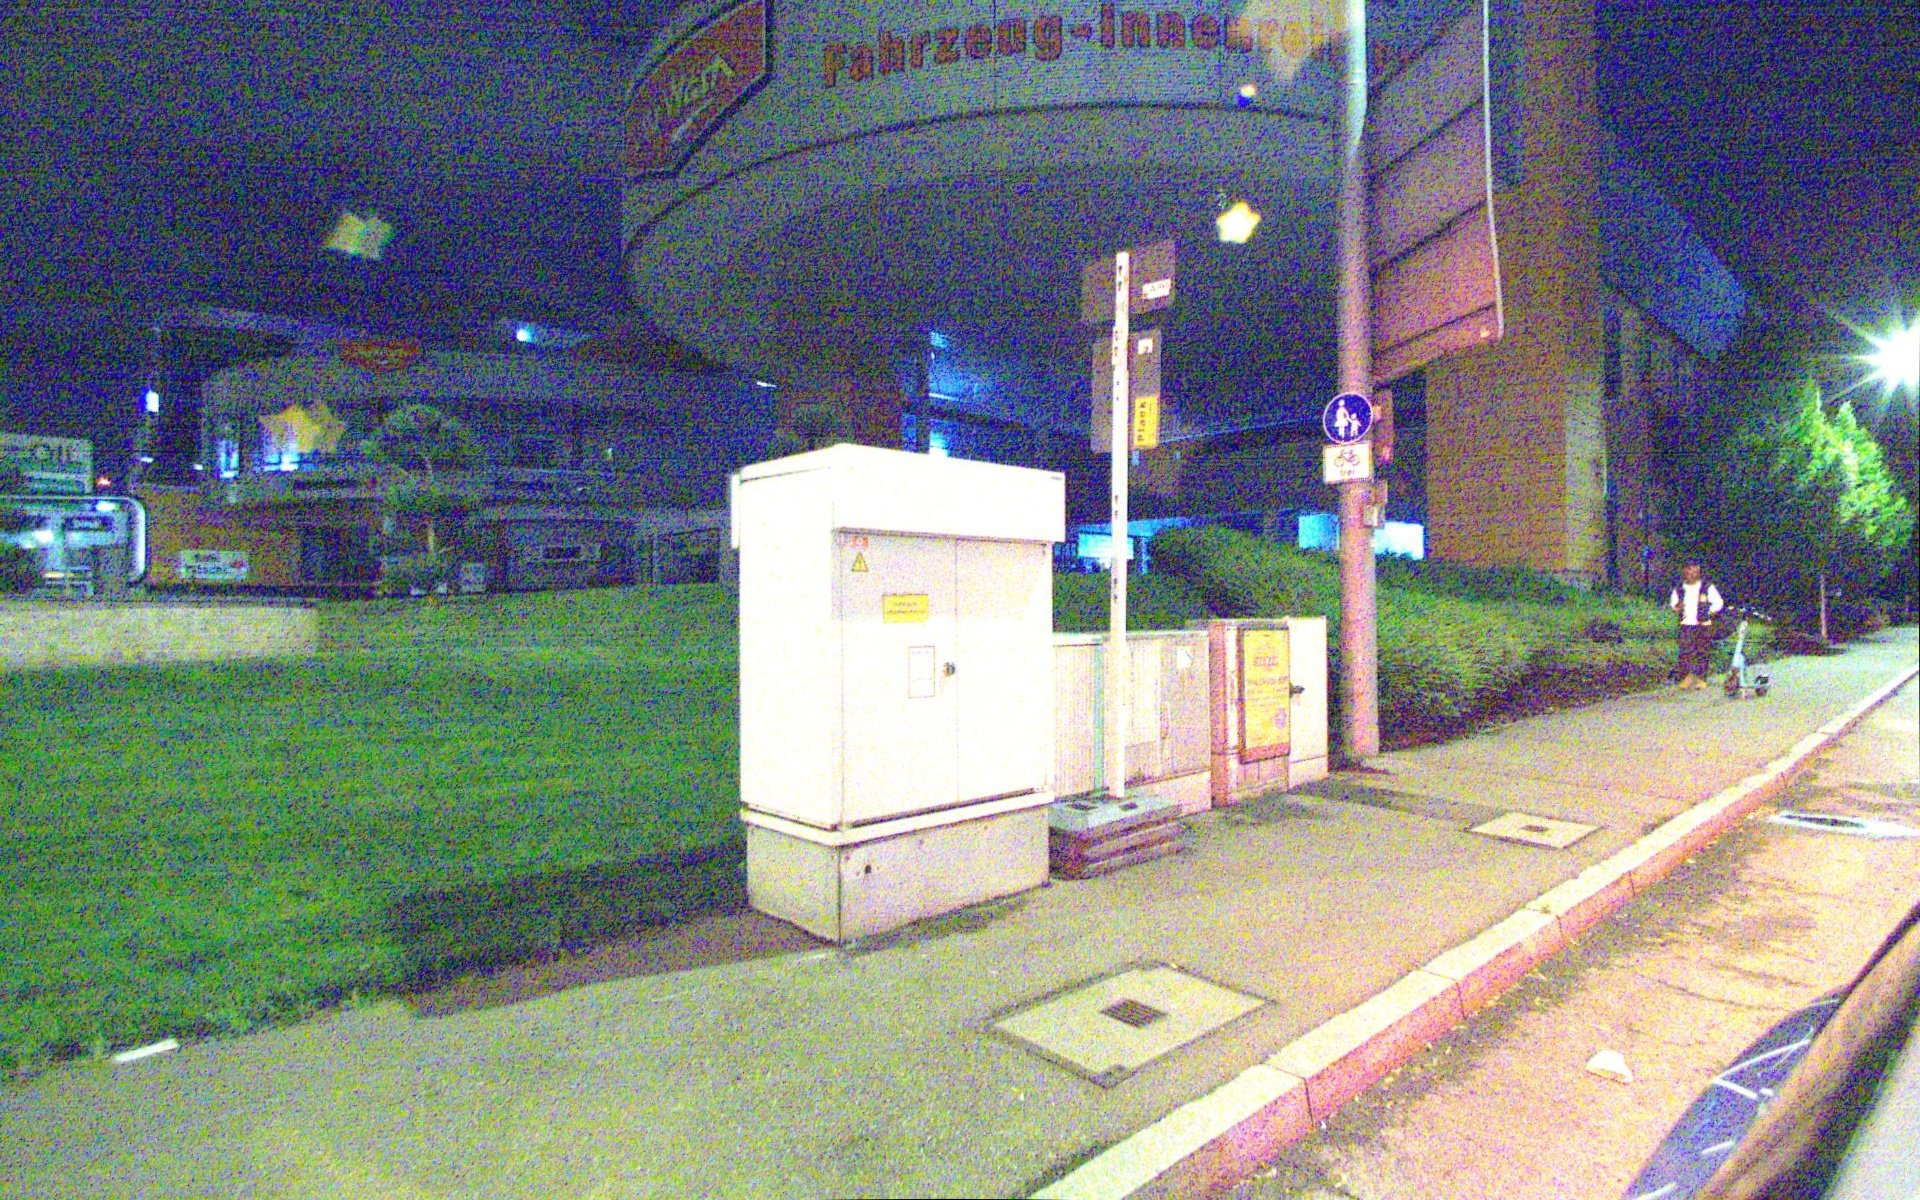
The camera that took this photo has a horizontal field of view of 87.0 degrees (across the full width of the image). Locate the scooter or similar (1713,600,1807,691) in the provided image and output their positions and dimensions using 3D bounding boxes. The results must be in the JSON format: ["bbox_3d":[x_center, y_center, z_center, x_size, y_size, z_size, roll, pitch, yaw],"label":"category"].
[{"bbox_3d":[11.024,0.625,13.949,1.111,1.217,0.470,1,-1,-17],"label":"scooter or similar"}]

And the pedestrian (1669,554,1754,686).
[{"bbox_3d":[11.240,0.278,15.142,1.016,1.888,0.819,0,0,-41],"label":"pedestrian"}]
